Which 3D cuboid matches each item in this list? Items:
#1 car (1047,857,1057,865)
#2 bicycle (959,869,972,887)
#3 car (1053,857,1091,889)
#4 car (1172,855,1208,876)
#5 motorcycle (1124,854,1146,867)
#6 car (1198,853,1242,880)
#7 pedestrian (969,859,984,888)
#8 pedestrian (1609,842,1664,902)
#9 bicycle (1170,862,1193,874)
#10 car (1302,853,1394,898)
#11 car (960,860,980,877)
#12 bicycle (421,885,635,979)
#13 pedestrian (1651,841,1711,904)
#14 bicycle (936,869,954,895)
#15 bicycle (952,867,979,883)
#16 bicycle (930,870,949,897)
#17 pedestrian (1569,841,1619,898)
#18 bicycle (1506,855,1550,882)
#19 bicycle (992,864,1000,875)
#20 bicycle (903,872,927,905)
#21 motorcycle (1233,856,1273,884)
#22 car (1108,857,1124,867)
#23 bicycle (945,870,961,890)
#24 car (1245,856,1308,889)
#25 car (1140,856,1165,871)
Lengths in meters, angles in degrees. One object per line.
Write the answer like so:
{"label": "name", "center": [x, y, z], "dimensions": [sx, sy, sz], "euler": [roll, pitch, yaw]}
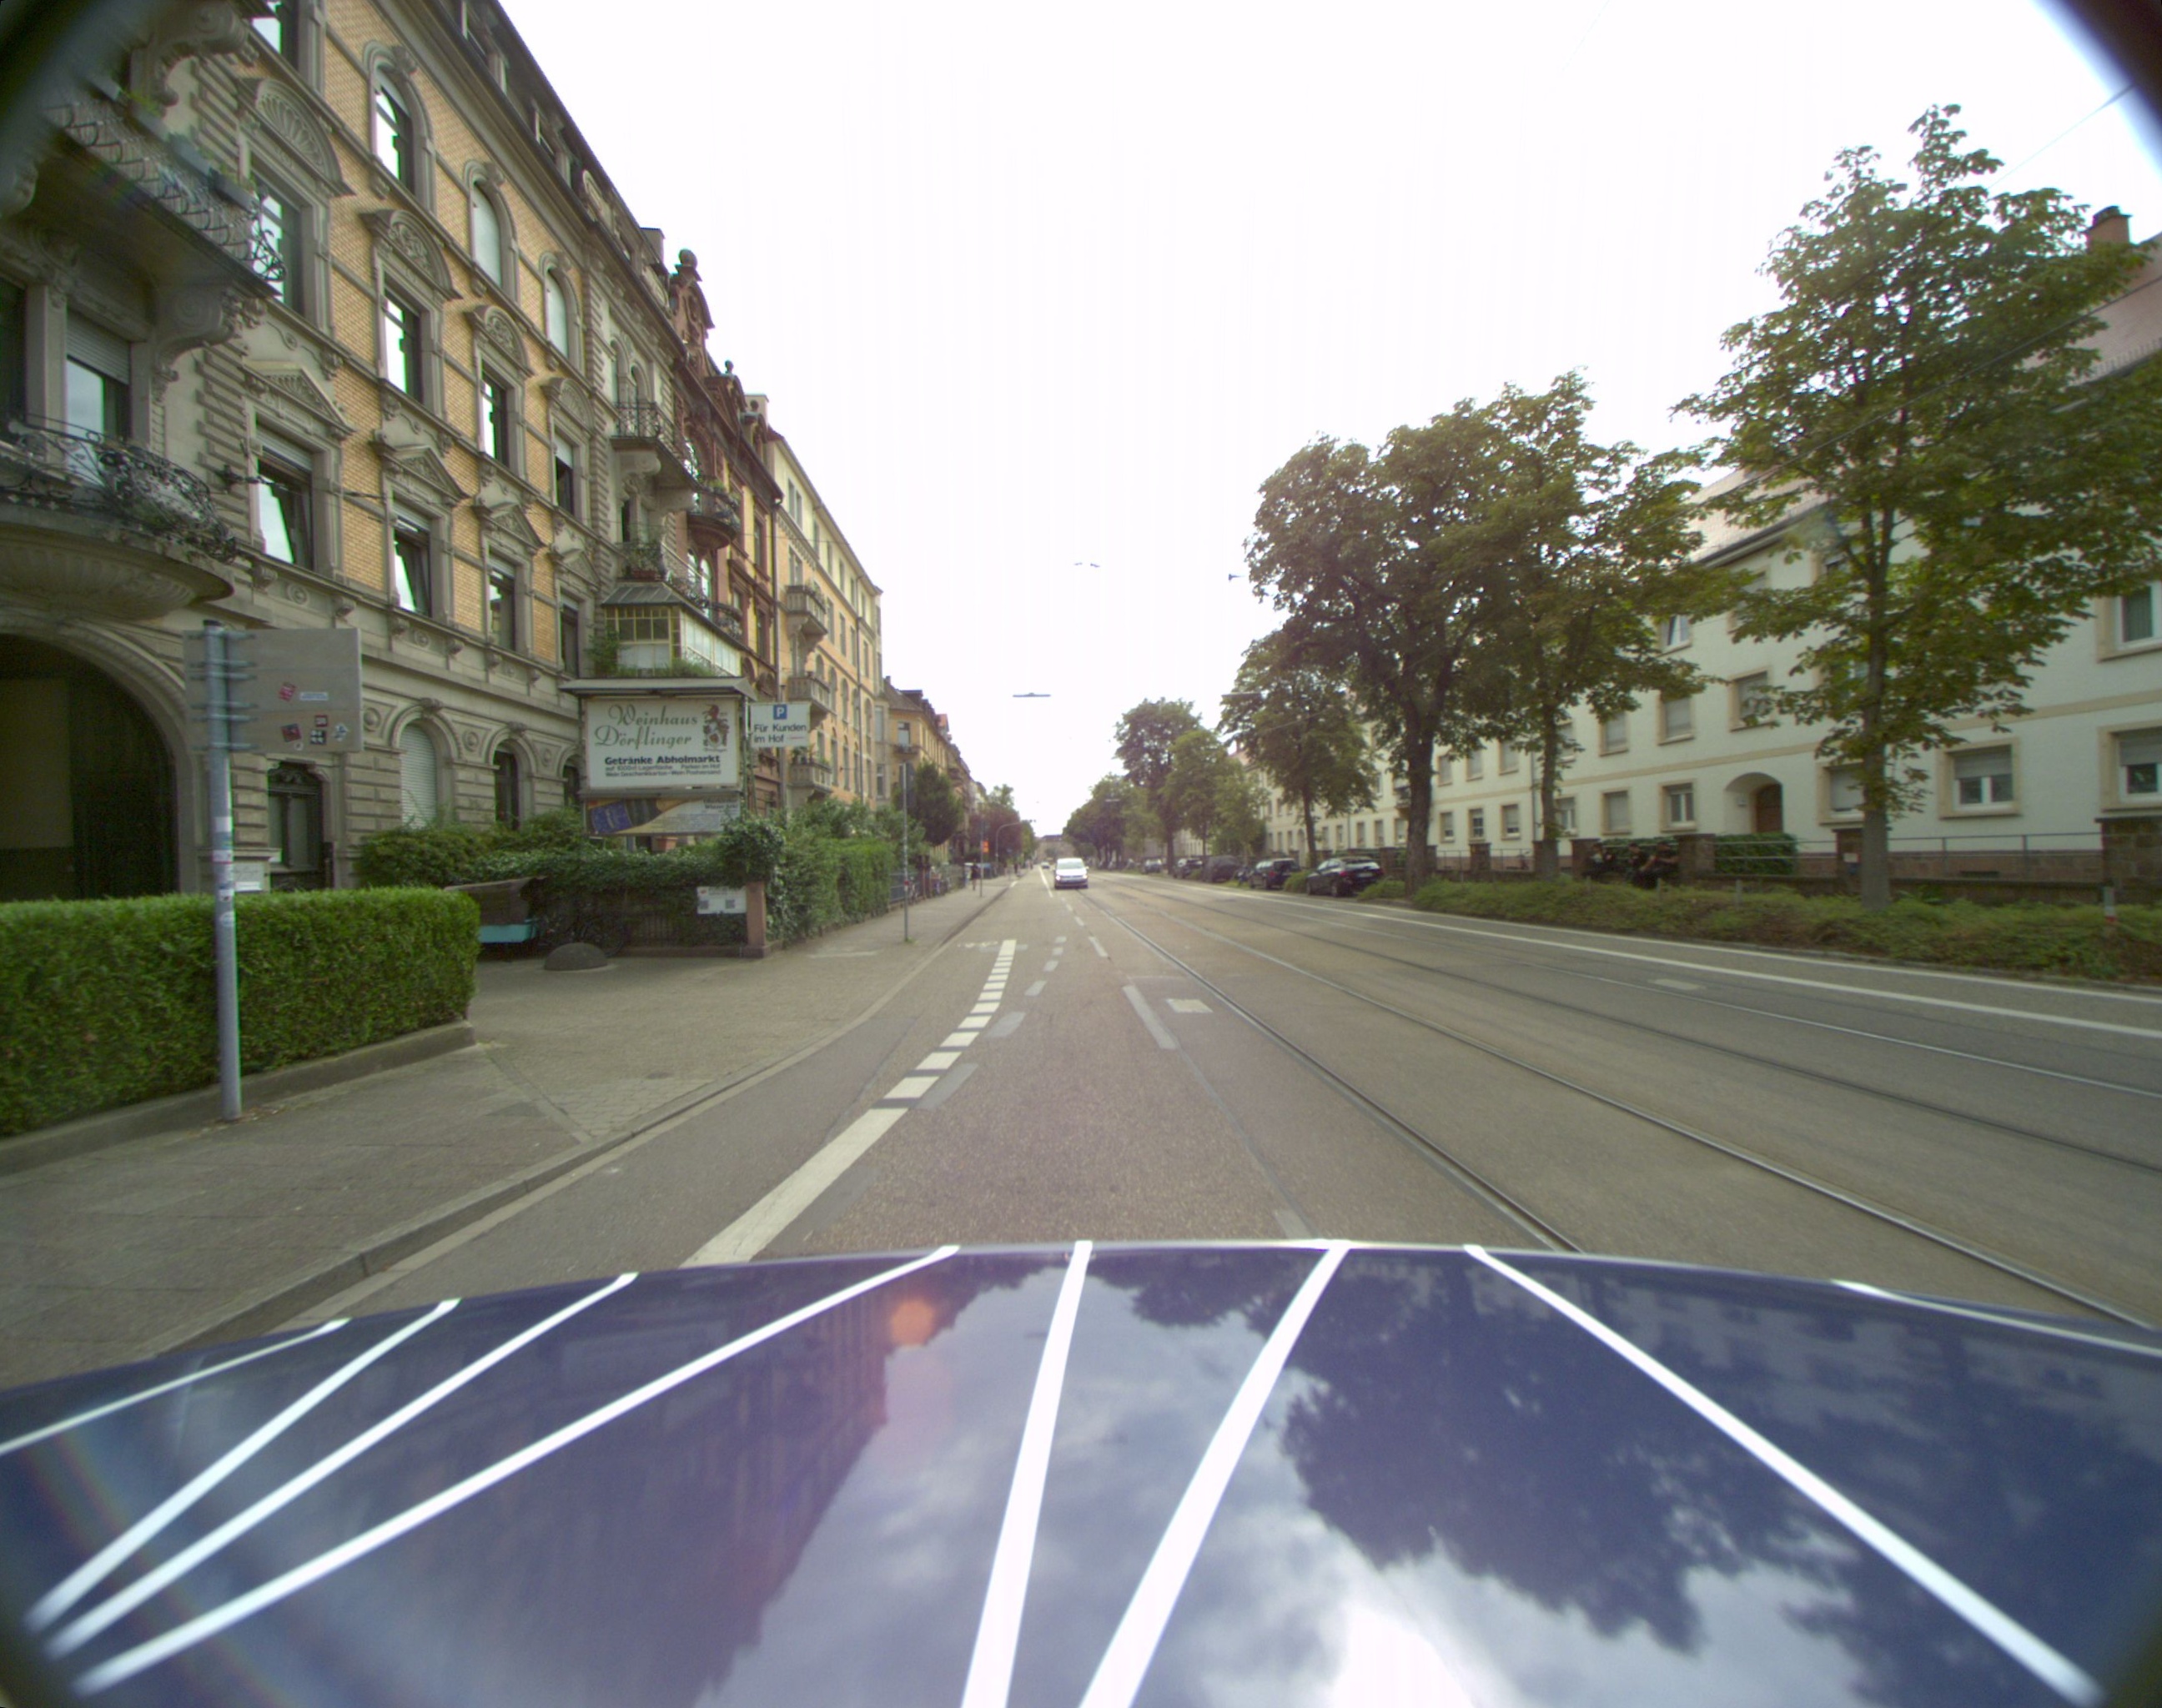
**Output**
{"label": "car", "center": [-6.521, 1.554, 169.316], "dimensions": [1.947, 1.675, 4.000], "euler": [-1, 0, 1]}
{"label": "bicycle", "center": [-6.750, 1.401, 44.620], "dimensions": [0.580, 0.977, 1.671], "euler": [2, 0, -4]}
{"label": "car", "center": [-0.581, 1.023, 43.818], "dimensions": [1.876, 1.670, 5.129], "euler": [-2, 0, -3]}
{"label": "car", "center": [8.189, 0.844, 57.453], "dimensions": [1.701, 1.462, 4.298], "euler": [-2, 0, -5]}
{"label": "motorcycle", "center": [6.586, 0.788, 92.394], "dimensions": [2.312, 1.382, 0.838], "euler": [-7, 1, 29]}
{"label": "car", "center": [8.767, 0.764, 48.280], "dimensions": [1.790, 1.602, 4.299], "euler": [-2, 0, -3]}
{"label": "pedestrian", "center": [-5.813, 1.072, 42.250], "dimensions": [0.732, 1.614, 0.835], "euler": [-2, 0, -3]}
{"label": "pedestrian", "center": [14.138, 0.449, 19.348], "dimensions": [0.835, 1.456, 0.732], "euler": [-2, 0, -8]}
{"label": "bicycle", "center": [8.240, 1.139, 62.218], "dimensions": [1.672, 0.965, 0.672], "euler": [-1, 0, -12]}
{"label": "car", "center": [9.959, 0.760, 28.705], "dimensions": [1.701, 1.415, 4.299], "euler": [-5, 0, -3]}
{"label": "car", "center": [-10.437, 1.345, 71.393], "dimensions": [1.757, 1.516, 3.997], "euler": [-2, 0, -8]}
{"label": "bicycle", "center": [-8.514, 1.179, 11.792], "dimensions": [2.631, 1.304, 0.770], "euler": [-1, 0, -5]}
{"label": "pedestrian", "center": [14.309, 0.429, 18.130], "dimensions": [0.835, 1.456, 0.732], "euler": [-2, 0, -8]}
{"label": "bicycle", "center": [-6.285, 1.274, 35.107], "dimensions": [0.580, 1.105, 1.671], "euler": [2, 0, -4]}
{"label": "bicycle", "center": [-8.219, 1.501, 54.039], "dimensions": [0.629, 1.106, 1.878], "euler": [-1, 0, 40]}
{"label": "bicycle", "center": [-6.171, 1.266, 33.138], "dimensions": [0.580, 1.105, 1.671], "euler": [2, 0, -4]}
{"label": "pedestrian", "center": [14.061, 0.423, 20.829], "dimensions": [0.835, 1.503, 0.732], "euler": [-2, 0, -8]}
{"label": "bicycle", "center": [14.839, 0.476, 25.262], "dimensions": [0.510, 0.858, 1.550], "euler": [-1, 0, -3]}
{"label": "bicycle", "center": [-8.621, 1.593, 77.414], "dimensions": [0.631, 1.106, 1.874], "euler": [-2, 0, -2]}
{"label": "bicycle", "center": [-6.061, 1.251, 27.779], "dimensions": [0.580, 1.105, 1.671], "euler": [-2, 0, -4]}
{"label": "motorcycle", "center": [9.224, 0.862, 40.731], "dimensions": [1.872, 1.253, 0.591], "euler": [-7, 1, -7]}
{"label": "car", "center": [5.233, 1.197, 114.244], "dimensions": [1.732, 1.462, 4.298], "euler": [-2, 0, -5]}
{"label": "bicycle", "center": [-6.529, 1.319, 38.734], "dimensions": [0.580, 0.977, 1.671], "euler": [2, 0, -4]}
{"label": "car", "center": [9.385, 0.863, 36.862], "dimensions": [1.701, 1.415, 4.299], "euler": [-3, 0, -3]}
{"label": "car", "center": [7.221, 0.931, 76.668], "dimensions": [1.701, 1.462, 4.298], "euler": [-2, 0, -5]}
